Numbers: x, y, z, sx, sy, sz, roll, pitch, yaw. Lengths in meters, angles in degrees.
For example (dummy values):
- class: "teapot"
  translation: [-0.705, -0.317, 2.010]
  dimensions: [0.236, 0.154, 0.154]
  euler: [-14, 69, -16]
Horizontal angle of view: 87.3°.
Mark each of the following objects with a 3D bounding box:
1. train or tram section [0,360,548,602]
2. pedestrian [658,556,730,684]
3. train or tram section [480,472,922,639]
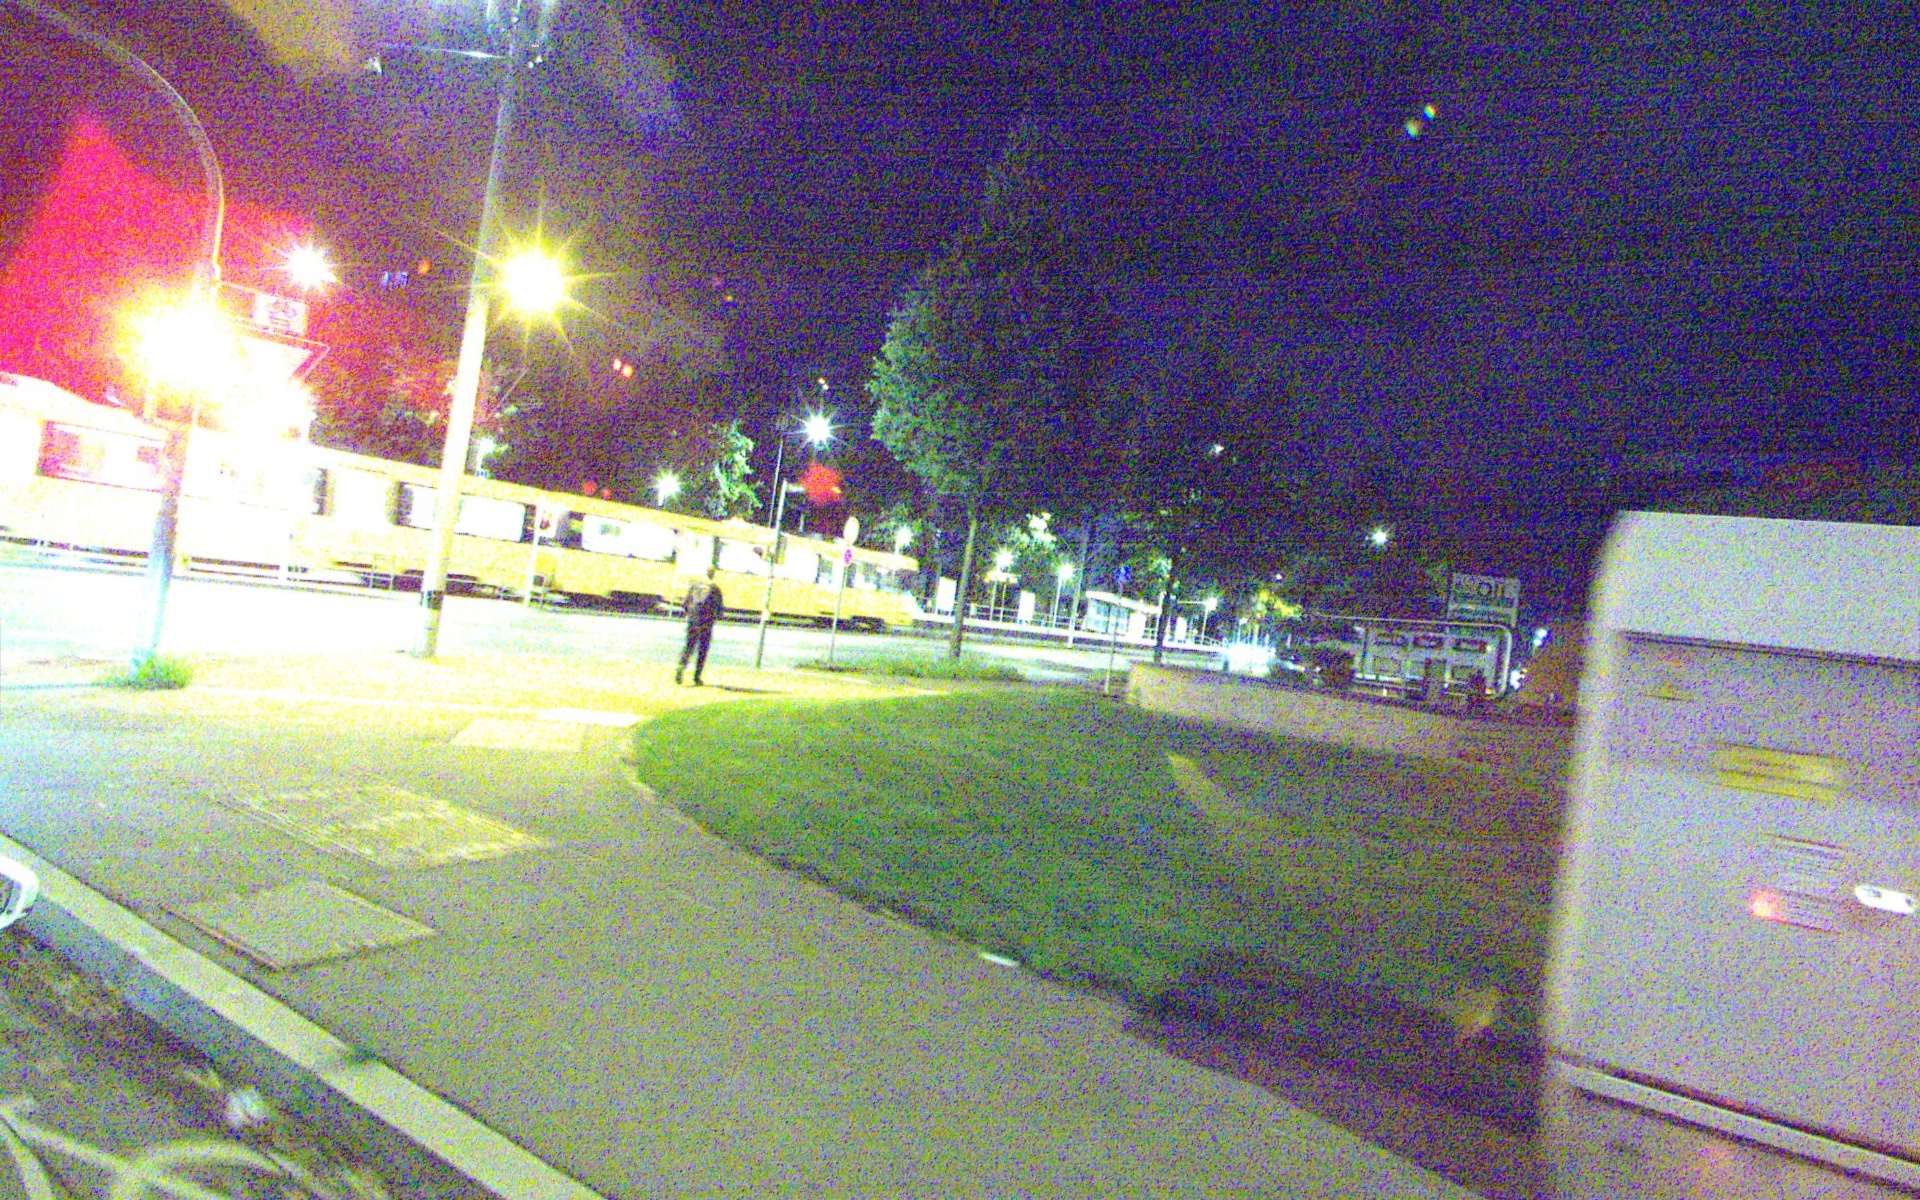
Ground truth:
- class: "train or tram section"
  translation: [-19.135, -2.841, 23.732]
  dimensions: [2.919, 3.896, 18.426]
  euler: [9, 0, 35]
- class: "pedestrian"
  translation: [-3.684, 0.280, 13.891]
  dimensions: [0.867, 1.677, 0.835]
  euler: [3, 1, -18]
- class: "train or tram section"
  translation: [-8.514, -1.159, 38.913]
  dimensions: [2.919, 3.895, 18.865]
  euler: [6, -2, 35]
